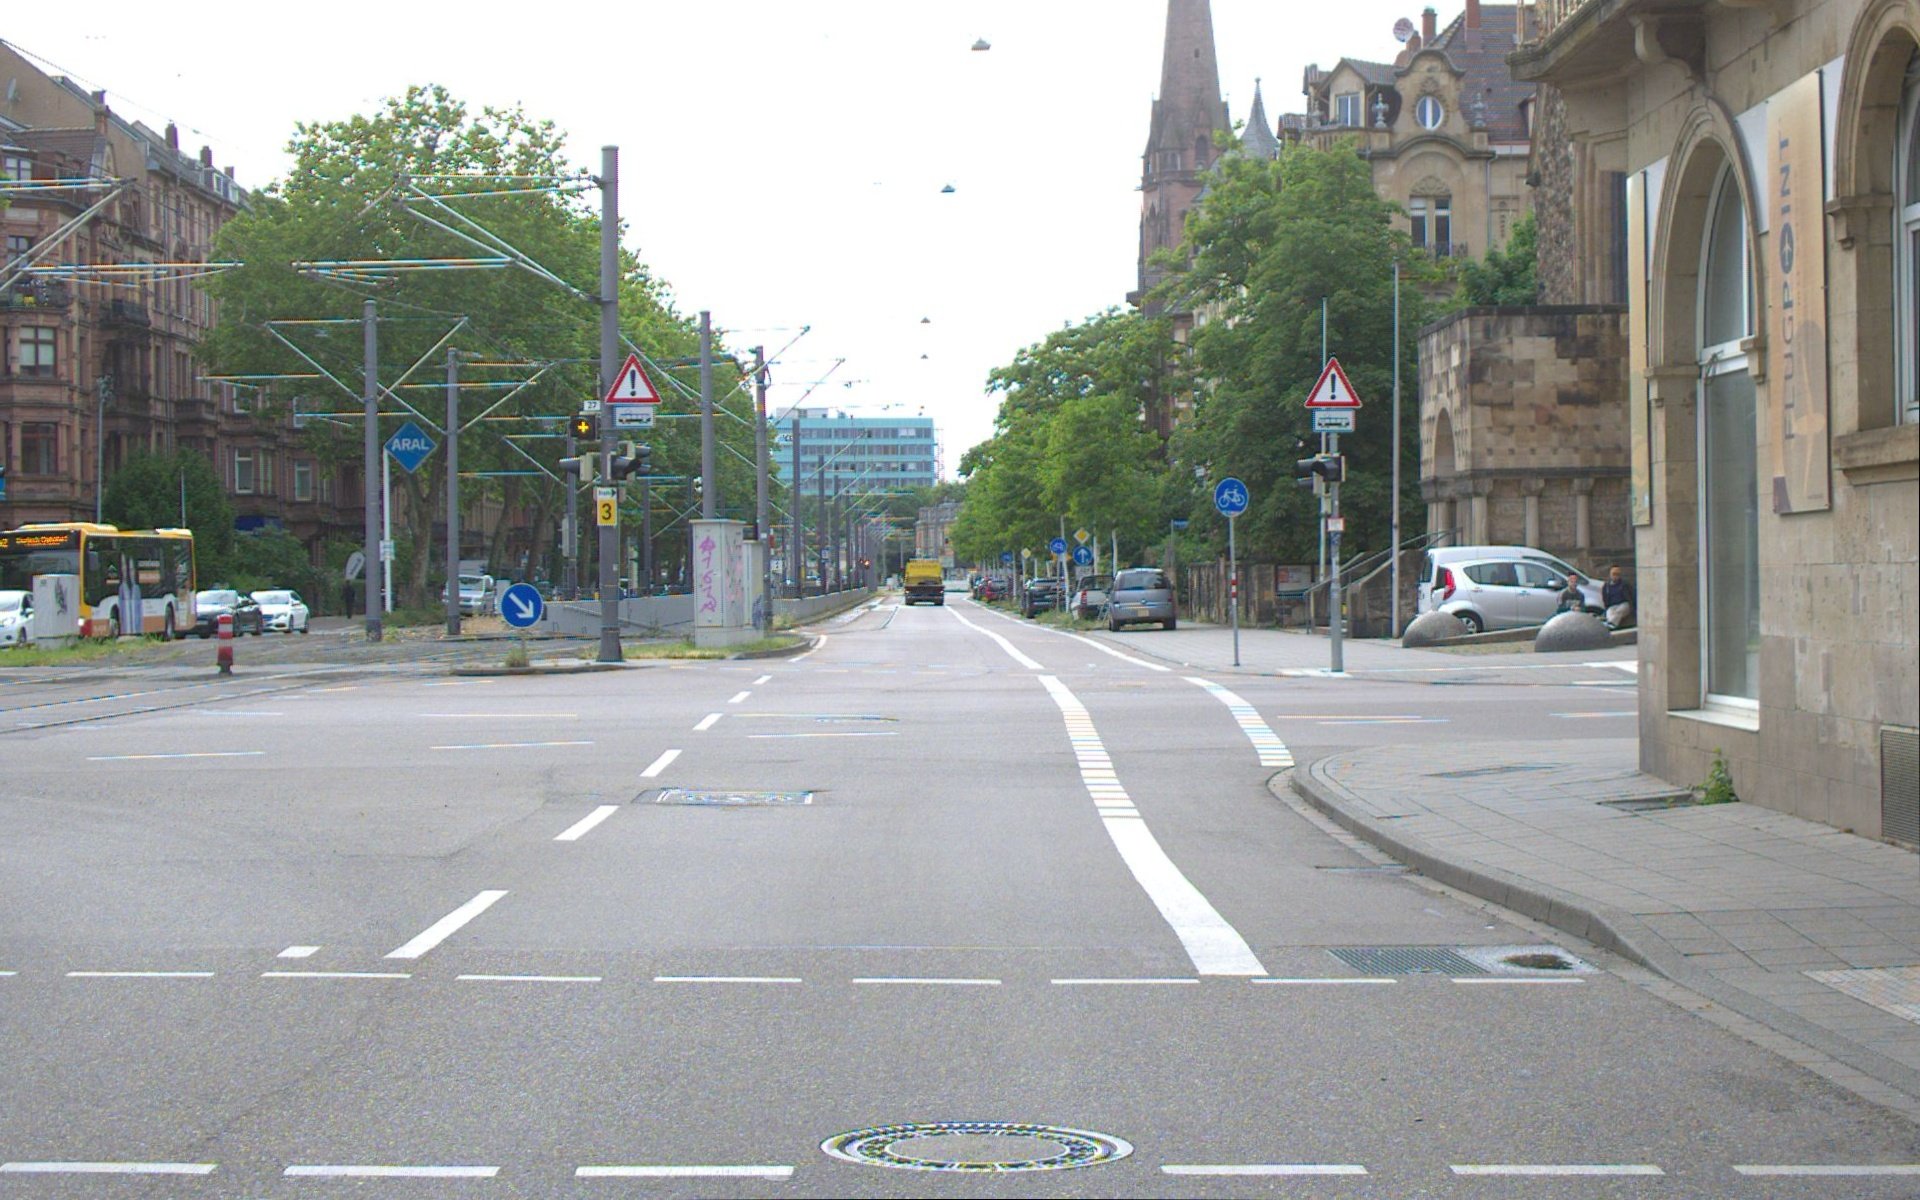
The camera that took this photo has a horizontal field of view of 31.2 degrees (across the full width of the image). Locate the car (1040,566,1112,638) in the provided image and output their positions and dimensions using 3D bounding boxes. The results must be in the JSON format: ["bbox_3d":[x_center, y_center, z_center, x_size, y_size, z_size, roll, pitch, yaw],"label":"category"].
[{"bbox_3d":[3.334,0.033,99.634,1.993,2.007,4.000,1,1,1],"label":"car"}]

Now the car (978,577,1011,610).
[{"bbox_3d":[2.180,-0.400,216.854,1.993,2.007,4.000,1,1,-1],"label":"car"}]

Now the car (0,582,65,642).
[{"bbox_3d":[-21.918,0.259,79.061,1.656,1.316,3.638,1,1,1],"label":"car"}]

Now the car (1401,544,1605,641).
[{"bbox_3d":[10.785,-0.159,68.422,3.713,1.849,2.000,1,0,0],"label":"car"}]

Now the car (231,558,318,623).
[{"bbox_3d":[-21.848,-0.320,109.618,1.993,2.007,4.000,1,1,-1],"label":"car"}]

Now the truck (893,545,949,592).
[{"bbox_3d":[-2.347,-1.952,210.675,3.055,2.760,9.815,0,1,2],"label":"truck"}]

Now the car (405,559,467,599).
[{"bbox_3d":[-21.548,-0.878,141.536,1.993,1.605,4.000,1,1,-1],"label":"car"}]

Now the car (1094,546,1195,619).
[{"bbox_3d":[4.859,-0.471,90.002,1.994,1.849,4.024,1,1,12],"label":"car"}]

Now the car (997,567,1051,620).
[{"bbox_3d":[2.528,-0.274,136.006,1.993,2.007,4.000,1,1,-1],"label":"car"}]

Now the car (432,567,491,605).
[{"bbox_3d":[-21.640,-0.638,149.353,1.993,1.605,4.000,1,1,-1],"label":"car"}]

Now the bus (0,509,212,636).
[{"bbox_3d":[-22.486,-0.730,89.110,3.231,3.025,12.311,1,1,1],"label":"bus"}]

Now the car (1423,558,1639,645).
[{"bbox_3d":[10.757,0.018,64.954,3.713,1.558,2.000,1,0,0],"label":"car"}]

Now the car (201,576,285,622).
[{"bbox_3d":[-21.308,-0.049,102.220,1.656,1.316,3.638,1,1,1],"label":"car"}]
